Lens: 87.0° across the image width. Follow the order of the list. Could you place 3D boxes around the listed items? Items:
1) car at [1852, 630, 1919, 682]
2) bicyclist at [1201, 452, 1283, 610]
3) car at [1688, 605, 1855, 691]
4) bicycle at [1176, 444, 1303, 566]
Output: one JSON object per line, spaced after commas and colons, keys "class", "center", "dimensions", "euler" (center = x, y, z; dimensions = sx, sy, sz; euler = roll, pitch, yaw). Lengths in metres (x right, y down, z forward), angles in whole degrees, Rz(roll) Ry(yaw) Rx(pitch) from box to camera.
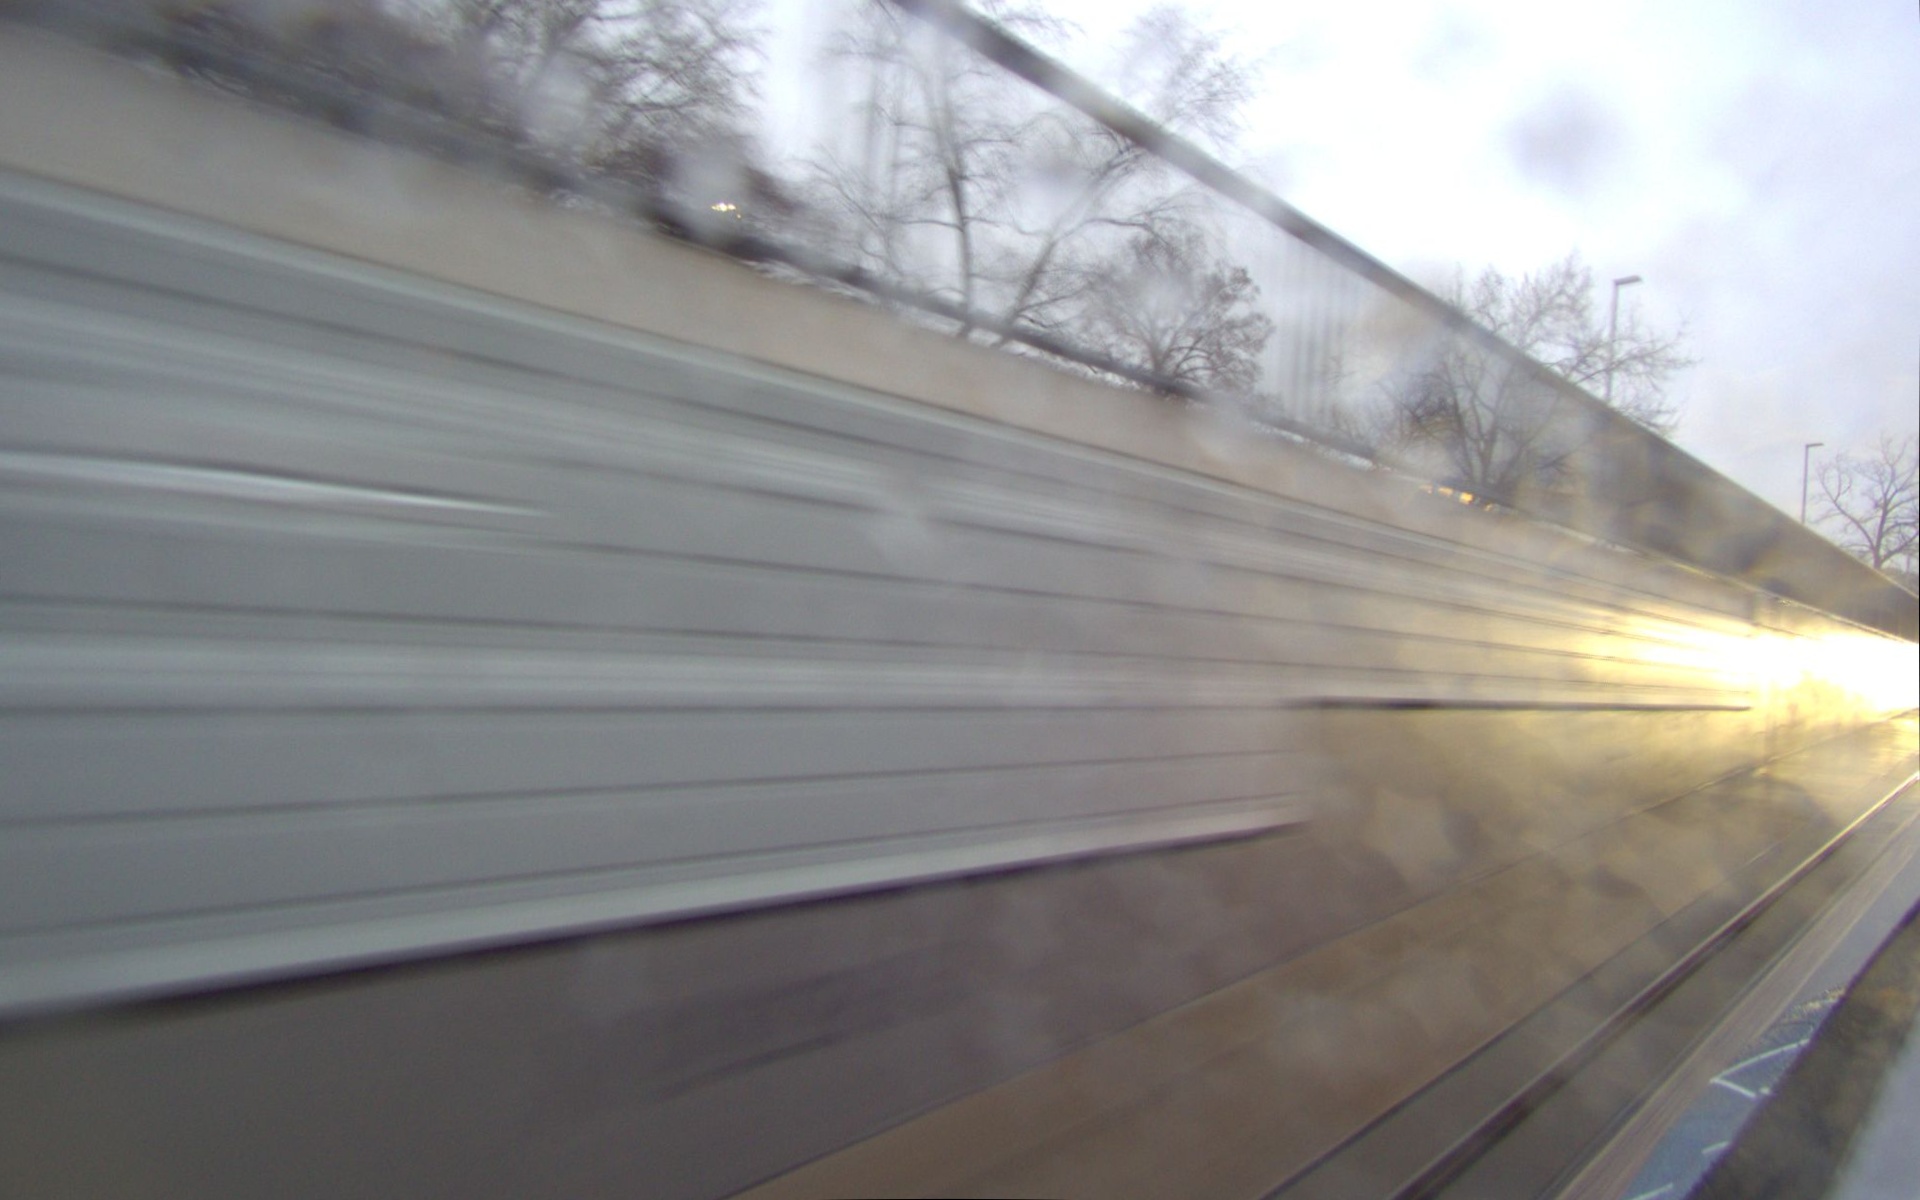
{"class": "car", "center": [30.820, 1.858, 33.115], "dimensions": [4.878, 1.520, 1.790], "euler": [4, -1, -41]}
{"class": "bicyclist", "center": [3.413, -0.813, 12.236], "dimensions": [0.822, 1.789, 0.501], "euler": [6, -2, -42]}
{"class": "car", "center": [15.809, 0.955, 19.663], "dimensions": [3.926, 1.498, 1.726], "euler": [4, -3, -39]}
{"class": "bicycle", "center": [3.416, -1.099, 12.251], "dimensions": [1.993, 1.200, 0.412], "euler": [5, -2, -42]}
